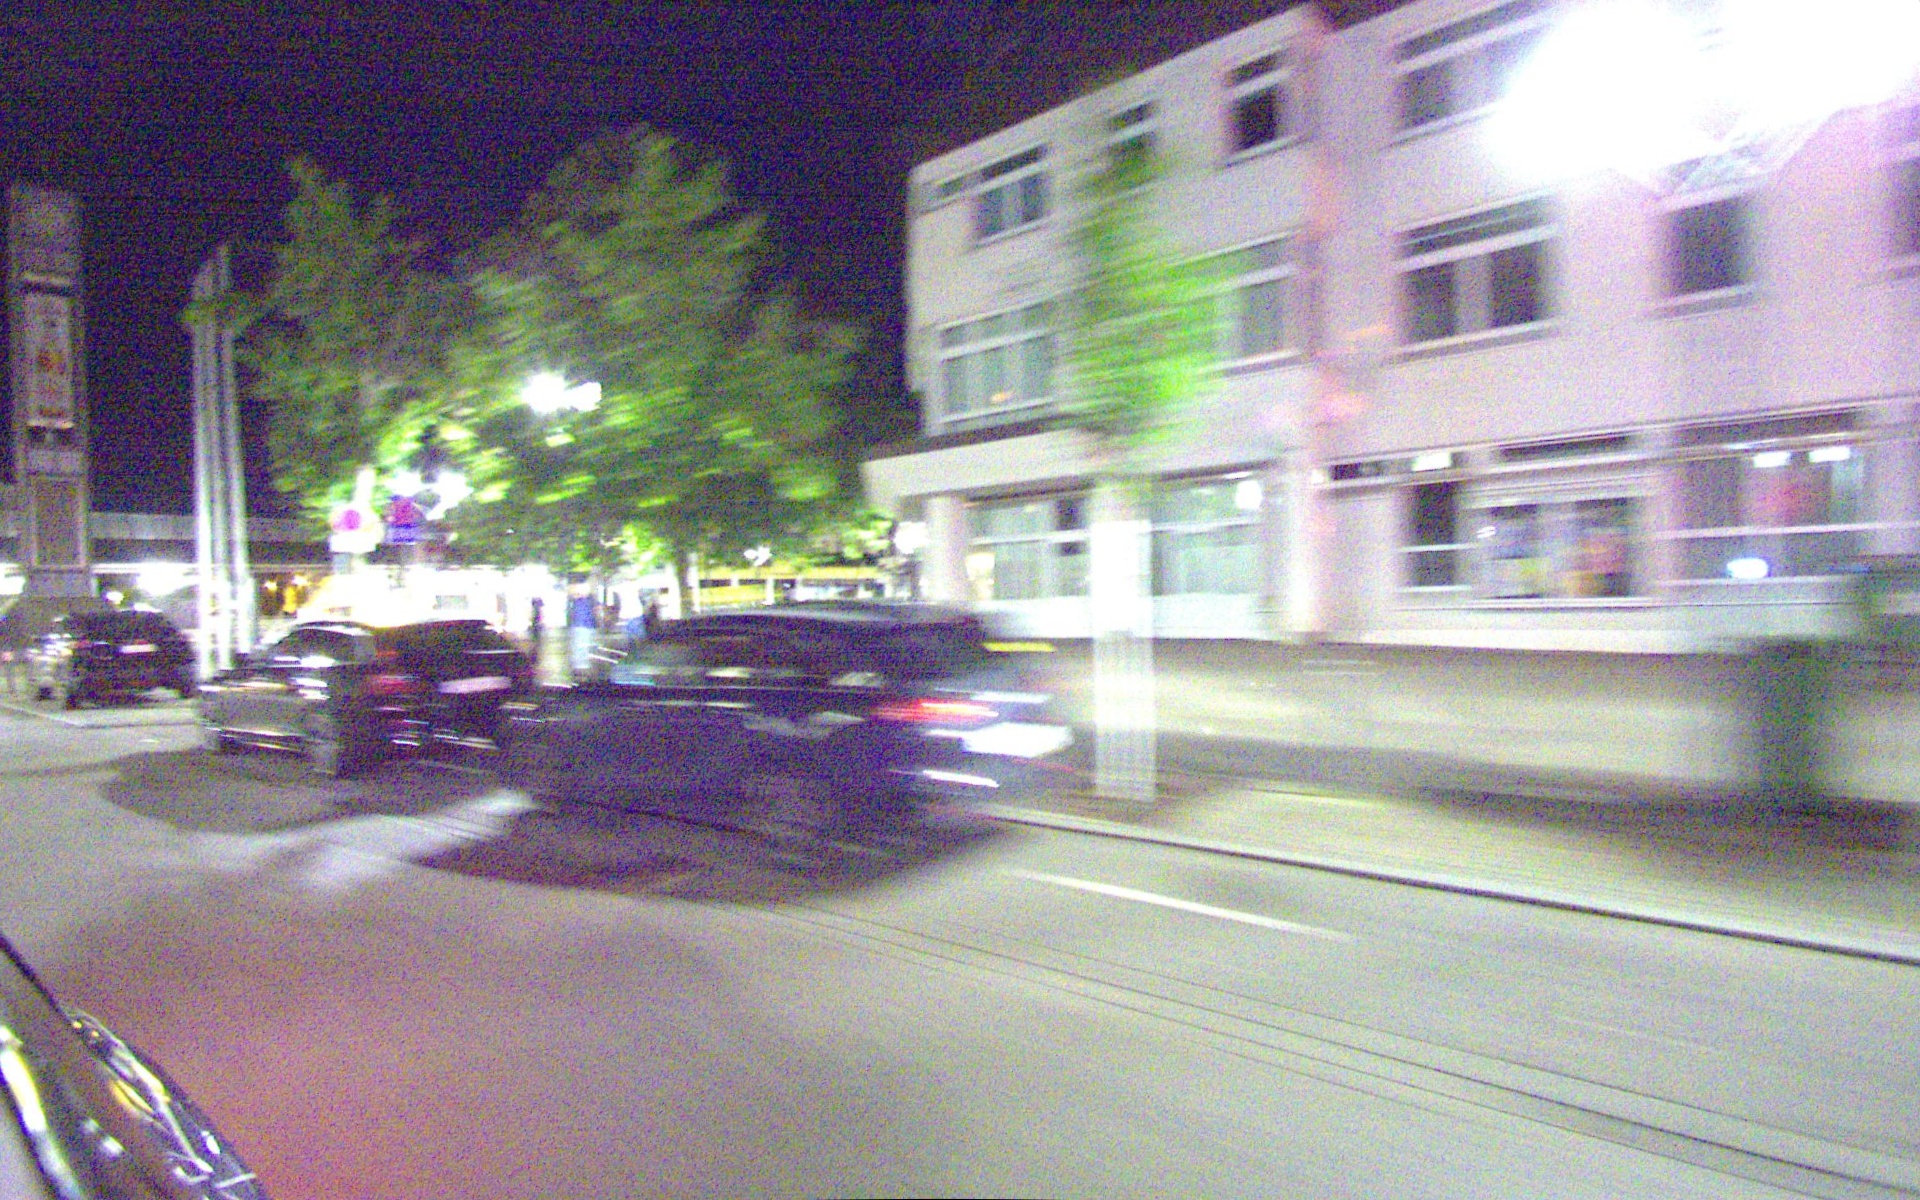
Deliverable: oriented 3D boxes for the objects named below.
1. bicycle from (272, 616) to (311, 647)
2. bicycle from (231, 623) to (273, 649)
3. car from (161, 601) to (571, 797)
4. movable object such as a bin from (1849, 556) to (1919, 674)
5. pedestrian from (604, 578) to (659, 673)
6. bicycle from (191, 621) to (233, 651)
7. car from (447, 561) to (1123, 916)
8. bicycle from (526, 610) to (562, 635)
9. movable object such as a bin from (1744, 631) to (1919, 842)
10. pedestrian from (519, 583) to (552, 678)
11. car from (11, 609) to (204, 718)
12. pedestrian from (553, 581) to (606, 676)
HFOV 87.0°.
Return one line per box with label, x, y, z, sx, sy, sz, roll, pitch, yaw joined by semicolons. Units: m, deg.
bicycle;-31.115;1.457;47.096;2.409;1.374;0.755;0;0;37
bicycle;-32.062;1.625;45.821;2.479;1.095;0.851;0;0;37
car;-6.255;0.854;10.433;4.772;1.553;1.888;-1;0;36
movable object such as a bin;12.245;0.176;12.942;1.285;1.455;1.026;0;1;40
pedestrian;-6.642;0.493;20.455;0.781;1.831;1.026;-2;1;-31
bicycle;-32.990;1.562;44.617;2.462;1.264;0.851;0;0;37
car;-1.452;0.690;6.887;4.807;1.650;1.742;-1;-1;38
bicycle;-23.559;1.265;57.305;2.506;1.374;0.766;0;0;37
movable object such as a bin;5.003;0.731;5.807;0.791;1.073;0.739;0;0;38
pedestrian;-8.312;0.584;19.829;0.494;1.835;0.504;0;0;-10
car;-14.683;0.989;17.341;4.479;1.586;1.753;-1;1;40
pedestrian;-7.693;0.566;20.460;0.866;1.845;0.793;-2;1;-26
